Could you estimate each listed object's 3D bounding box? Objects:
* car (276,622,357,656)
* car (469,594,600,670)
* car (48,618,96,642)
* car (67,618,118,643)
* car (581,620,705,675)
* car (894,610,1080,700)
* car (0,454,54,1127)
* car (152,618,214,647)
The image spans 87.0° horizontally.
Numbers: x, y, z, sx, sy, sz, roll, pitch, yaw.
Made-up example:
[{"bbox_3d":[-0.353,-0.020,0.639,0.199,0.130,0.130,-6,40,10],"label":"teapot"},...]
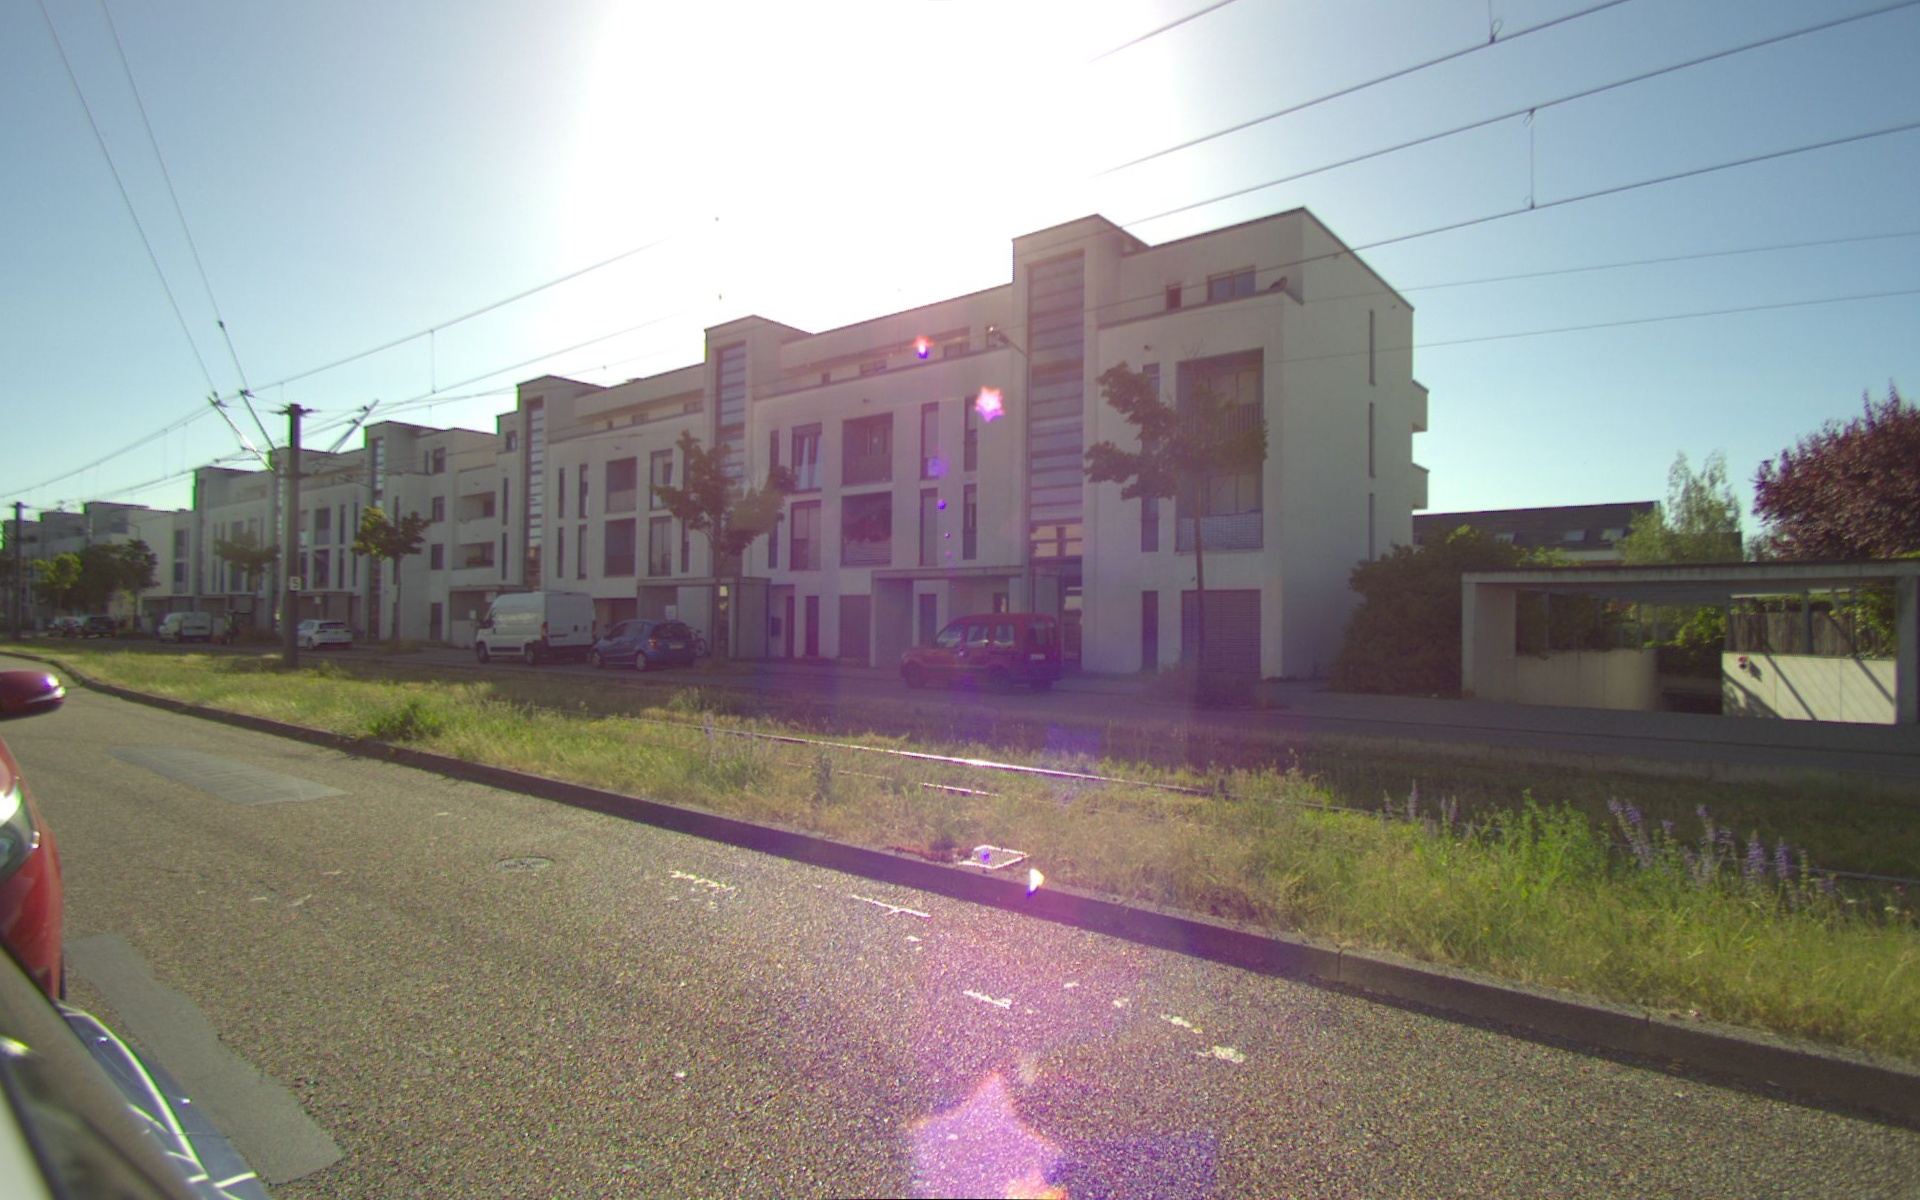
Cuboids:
[{"bbox_3d":[-31.112,1.840,48.891,4.277,1.517,1.900,-1,0,37],"label":"car"},{"bbox_3d":[-15.171,1.076,35.936,5.193,2.491,2.197,-1,0,40],"label":"car"},{"bbox_3d":[-67.497,2.258,76.924,4.277,1.693,1.900,-1,0,37],"label":"car"},{"bbox_3d":[-62.952,2.167,73.399,4.277,1.693,1.900,-1,0,37],"label":"car"},{"bbox_3d":[-9.977,1.448,31.731,3.833,1.556,1.973,-1,0,40],"label":"car"},{"bbox_3d":[0.561,1.168,23.010,3.895,1.842,1.972,-1,0,43],"label":"car"},{"bbox_3d":[-4.888,0.555,3.678,4.505,1.868,1.850,-1,0,41],"label":"car"},{"bbox_3d":[-47.331,1.963,61.618,4.277,1.693,1.900,-1,0,37],"label":"car"}]
